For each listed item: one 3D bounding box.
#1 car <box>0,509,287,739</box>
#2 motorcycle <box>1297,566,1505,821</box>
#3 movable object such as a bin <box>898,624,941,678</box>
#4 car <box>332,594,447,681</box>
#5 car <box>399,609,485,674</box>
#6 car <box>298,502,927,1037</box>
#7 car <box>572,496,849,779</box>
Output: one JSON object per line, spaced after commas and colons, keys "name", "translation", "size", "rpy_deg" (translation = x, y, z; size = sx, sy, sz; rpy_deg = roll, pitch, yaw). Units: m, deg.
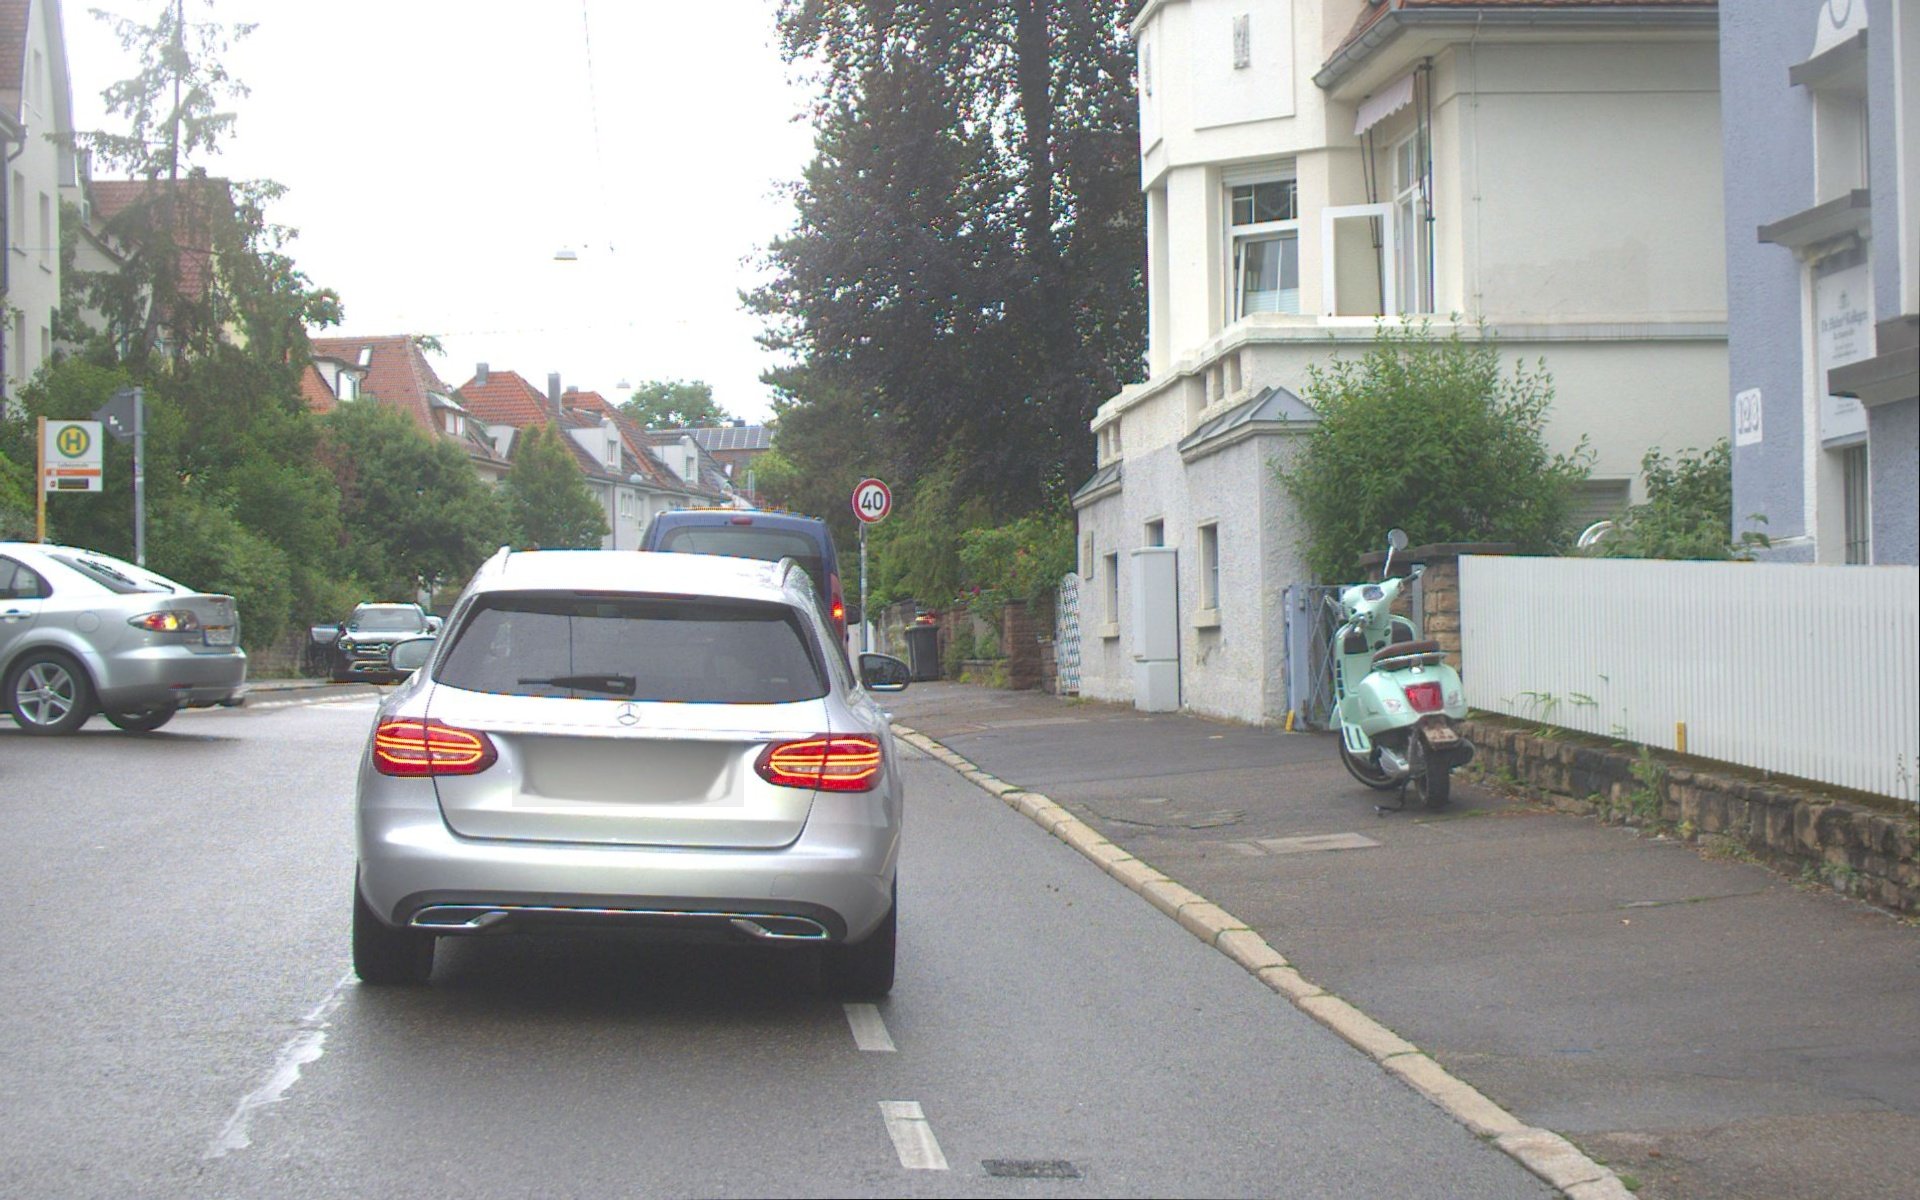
{"name": "car", "translation": [-7.460, 0.091, 25.604], "size": [4.367, 1.551, 1.821], "rpy_deg": [3, 0, 10]}
{"name": "motorcycle", "translation": [2.344, 0.464, 18.524], "size": [0.693, 1.222, 2.153], "rpy_deg": [-6, 1, -1]}
{"name": "movable object such as a bin", "translation": [-0.657, 0.827, 55.829], "size": [0.650, 0.853, 0.503], "rpy_deg": [0, 0, -7]}
{"name": "car", "translation": [-11.013, 0.741, 66.596], "size": [1.893, 1.617, 4.379], "rpy_deg": [1, -1, -5]}
{"name": "car", "translation": [-12.208, 0.959, 81.244], "size": [1.755, 1.442, 4.417], "rpy_deg": [0, 1, -5]}
{"name": "car", "translation": [-1.176, 0.489, 12.123], "size": [1.816, 1.551, 4.001], "rpy_deg": [1, 0, -5]}
{"name": "car", "translation": [-1.755, 0.318, 25.303], "size": [1.843, 1.897, 4.000], "rpy_deg": [1, -2, -2]}
